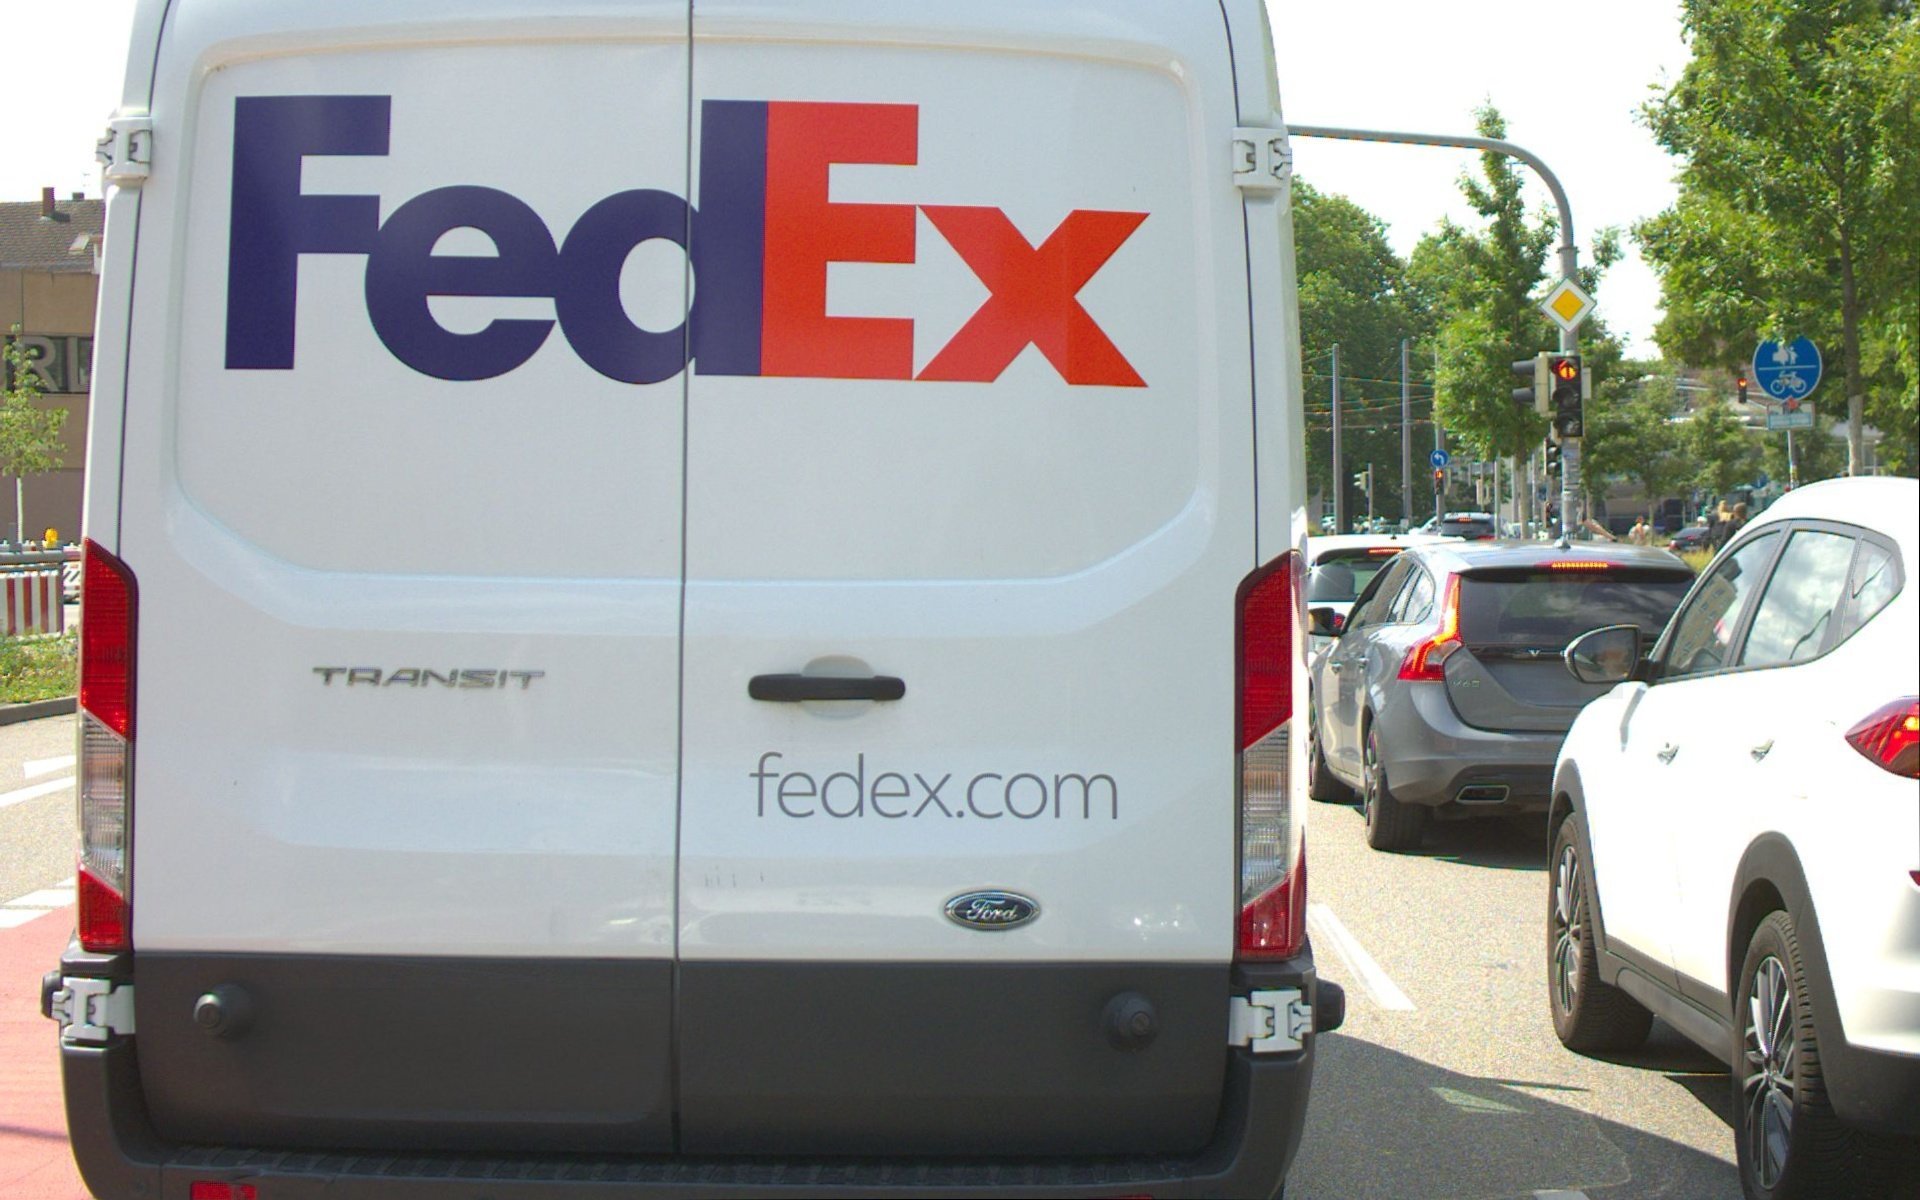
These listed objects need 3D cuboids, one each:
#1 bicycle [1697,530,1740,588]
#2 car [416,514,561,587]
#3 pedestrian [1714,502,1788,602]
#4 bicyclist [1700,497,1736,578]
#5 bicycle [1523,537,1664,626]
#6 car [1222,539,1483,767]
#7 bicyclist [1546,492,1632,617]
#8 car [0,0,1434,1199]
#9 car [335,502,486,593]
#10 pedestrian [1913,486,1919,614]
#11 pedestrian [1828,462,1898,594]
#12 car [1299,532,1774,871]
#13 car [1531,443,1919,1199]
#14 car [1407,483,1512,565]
[{"bbox_3d":[13.959,-0.762,63.291,0.546,1.027,1.926,0,2,6],"label":"bicycle"},{"bbox_3d":[-10.620,-1.120,77.665,1.902,1.579,3.998,0,1,14],"label":"car"},{"bbox_3d":[11.083,-0.674,48.188,0.845,1.384,0.741,0,1,-1],"label":"pedestrian"},{"bbox_3d":[13.956,-1.154,63.307,0.550,1.469,0.971,0,1,6],"label":"bicyclist"},{"bbox_3d":[9.452,-0.283,51.279,2.063,1.285,0.604,-1,1,-21],"label":"bicycle"},{"bbox_3d":[2.641,0.309,23.722,1.484,1.423,3.433,0,2,1],"label":"car"},{"bbox_3d":[9.374,-0.683,51.228,1.119,1.838,0.593,-1,2,-21],"label":"bicyclist"},{"bbox_3d":[-0.525,-0.079,7.727,2.140,2.643,5.705,0,1,-3],"label":"car"},{"bbox_3d":[-12.593,-1.201,78.993,1.995,2.007,3.998,0,1,14],"label":"car"},{"bbox_3d":[15.504,-0.783,54.007,0.845,2.007,0.741,0,1,0],"label":"pedestrian"},{"bbox_3d":[14.152,-1.131,53.860,0.844,2.051,0.741,-1,1,-7],"label":"pedestrian"},{"bbox_3d":[2.727,0.413,17.053,1.798,1.456,3.838,0,2,1],"label":"car"},{"bbox_3d":[2.580,0.490,8.387,1.798,1.681,4.000,0,2,1],"label":"car"},{"bbox_3d":[12.663,-1.913,86.995,2.094,2.007,4.641,0,1,15],"label":"car"}]
